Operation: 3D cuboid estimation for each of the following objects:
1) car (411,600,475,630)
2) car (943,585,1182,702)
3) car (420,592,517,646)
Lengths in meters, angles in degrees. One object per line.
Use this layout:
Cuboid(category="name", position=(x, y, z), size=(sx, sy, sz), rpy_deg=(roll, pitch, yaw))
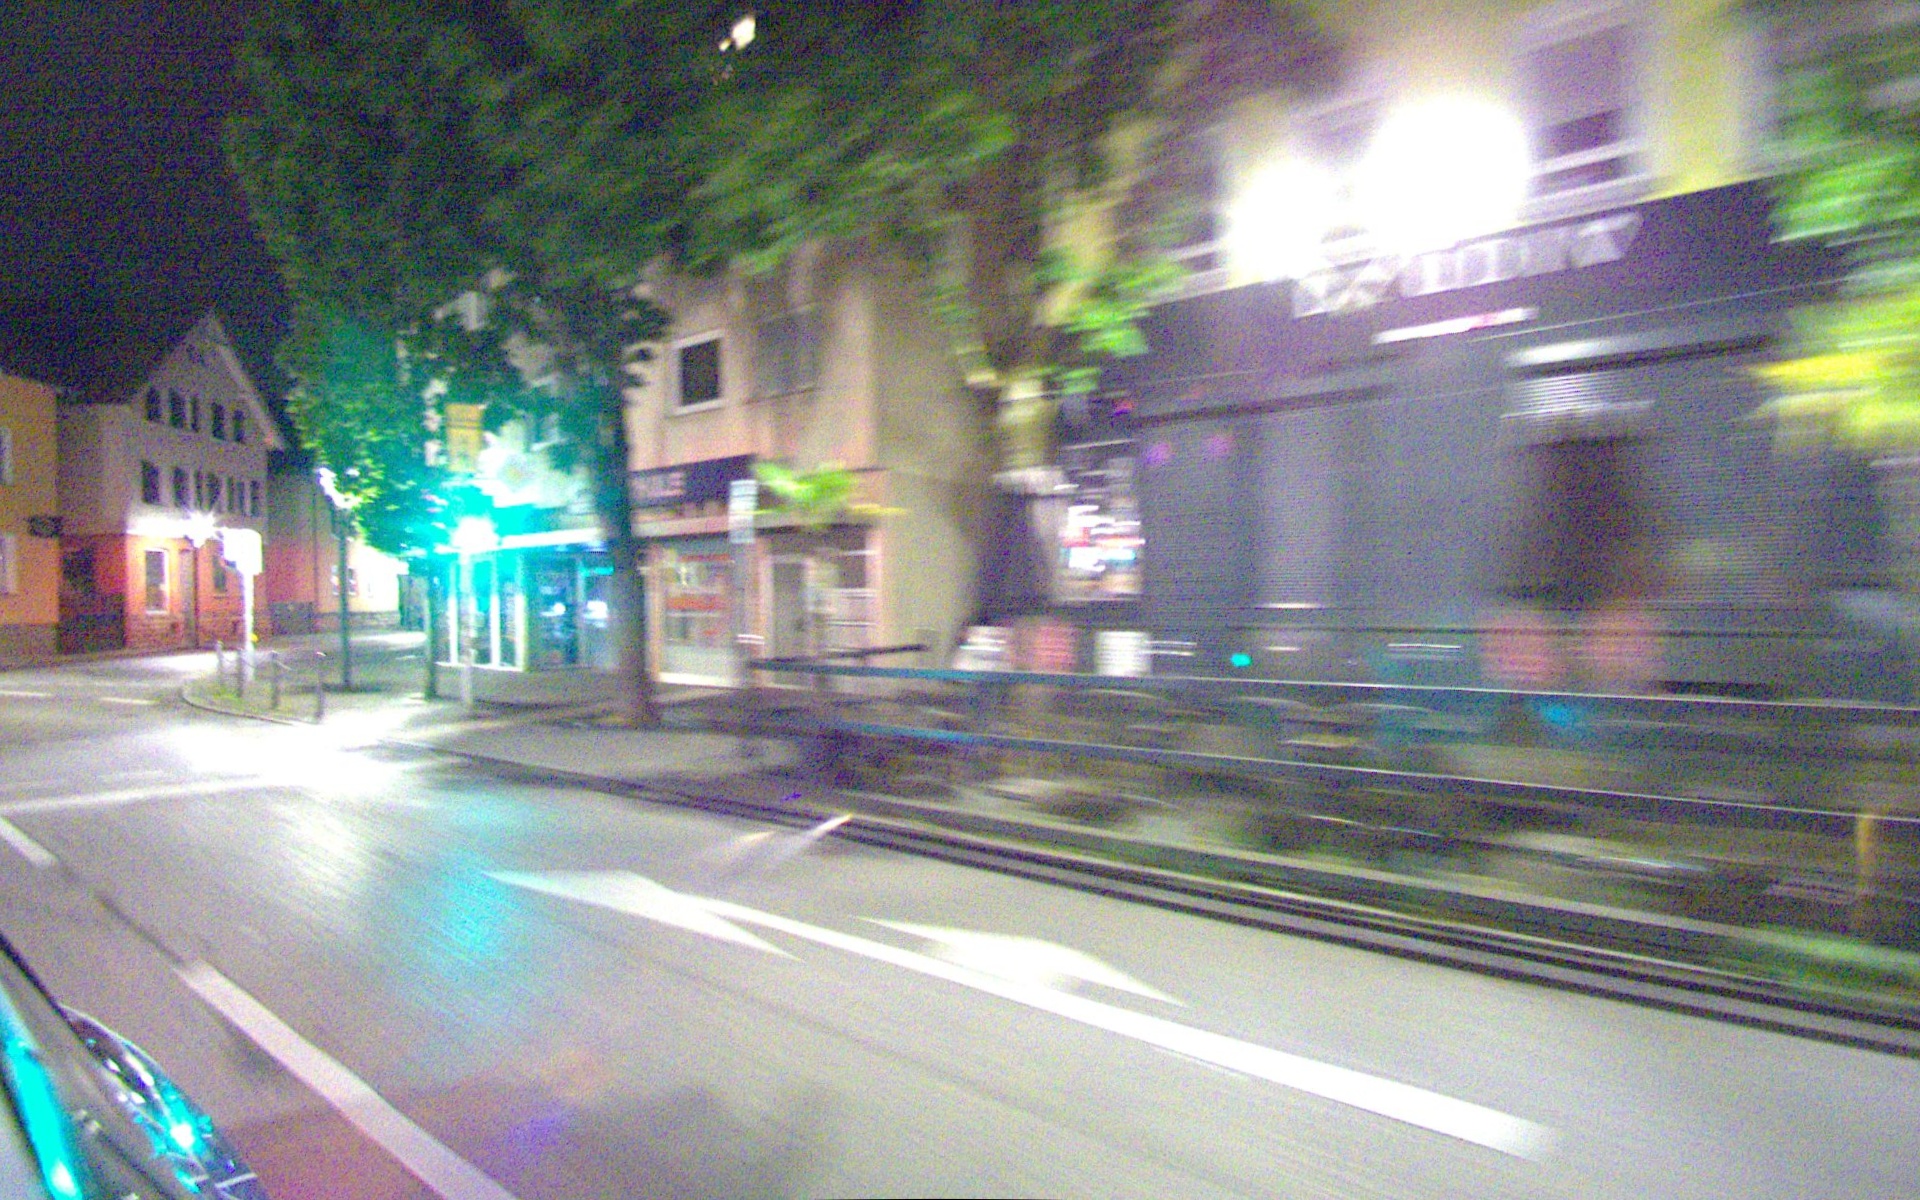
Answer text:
Cuboid(category="car", position=(-27.634, 0.765, 54.258), size=(1.708, 1.530, 4.006), rpy_deg=(-2, 0, -6))
Cuboid(category="car", position=(1.697, 0.576, 15.603), size=(1.817, 1.538, 3.949), rpy_deg=(-1, 0, 38))
Cuboid(category="car", position=(-17.435, 0.638, 36.089), size=(1.899, 1.763, 4.184), rpy_deg=(-2, 0, -8))
